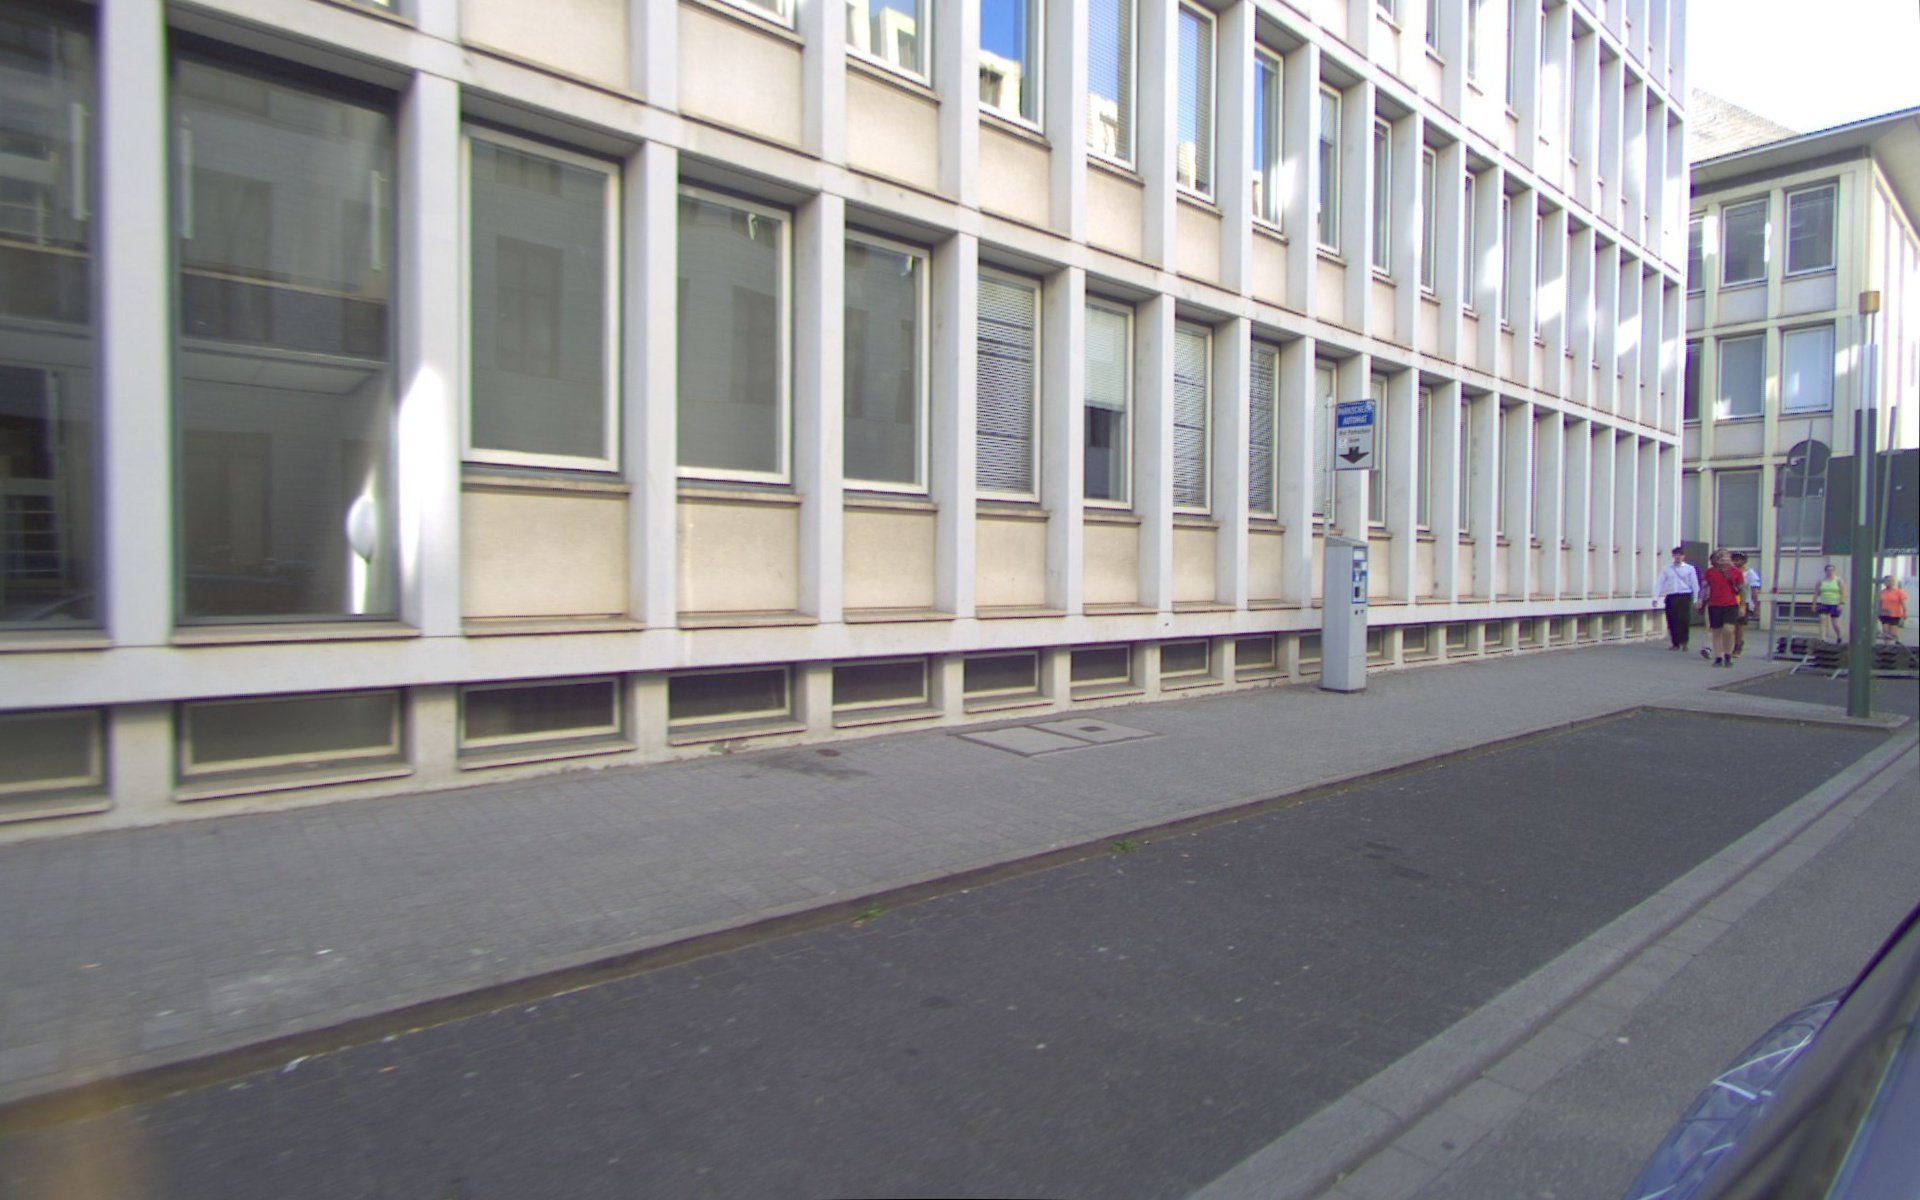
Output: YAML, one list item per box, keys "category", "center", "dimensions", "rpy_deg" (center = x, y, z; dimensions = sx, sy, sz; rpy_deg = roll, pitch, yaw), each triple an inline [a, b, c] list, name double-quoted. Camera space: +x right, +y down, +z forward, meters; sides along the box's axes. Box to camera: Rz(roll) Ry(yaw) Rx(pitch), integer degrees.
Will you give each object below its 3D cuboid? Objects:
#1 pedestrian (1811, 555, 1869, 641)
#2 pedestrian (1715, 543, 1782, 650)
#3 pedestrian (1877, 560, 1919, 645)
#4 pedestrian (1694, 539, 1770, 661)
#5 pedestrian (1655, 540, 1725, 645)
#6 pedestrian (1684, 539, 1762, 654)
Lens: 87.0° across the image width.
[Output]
- category: "pedestrian"
  center: [18.575, -0.060, 21.367]
  dimensions: [0.681, 1.735, 0.685]
  rpy_deg: [-1, 5, -38]
- category: "pedestrian"
  center: [13.663, -0.073, 17.549]
  dimensions: [0.681, 1.800, 0.685]
  rpy_deg: [-1, 4, -38]
- category: "pedestrian"
  center: [19.201, 0.043, 20.533]
  dimensions: [0.681, 1.656, 0.685]
  rpy_deg: [-1, 5, -38]
- category: "pedestrian"
  center: [11.892, -0.023, 15.599]
  dimensions: [0.582, 1.799, 0.685]
  rpy_deg: [-1, 5, -38]
- category: "pedestrian"
  center: [13.199, -0.151, 18.305]
  dimensions: [0.681, 1.798, 0.685]
  rpy_deg: [-1, 7, -38]
- category: "pedestrian"
  center: [12.524, -0.075, 16.615]
  dimensions: [0.681, 1.798, 0.685]
  rpy_deg: [-1, 7, -38]
